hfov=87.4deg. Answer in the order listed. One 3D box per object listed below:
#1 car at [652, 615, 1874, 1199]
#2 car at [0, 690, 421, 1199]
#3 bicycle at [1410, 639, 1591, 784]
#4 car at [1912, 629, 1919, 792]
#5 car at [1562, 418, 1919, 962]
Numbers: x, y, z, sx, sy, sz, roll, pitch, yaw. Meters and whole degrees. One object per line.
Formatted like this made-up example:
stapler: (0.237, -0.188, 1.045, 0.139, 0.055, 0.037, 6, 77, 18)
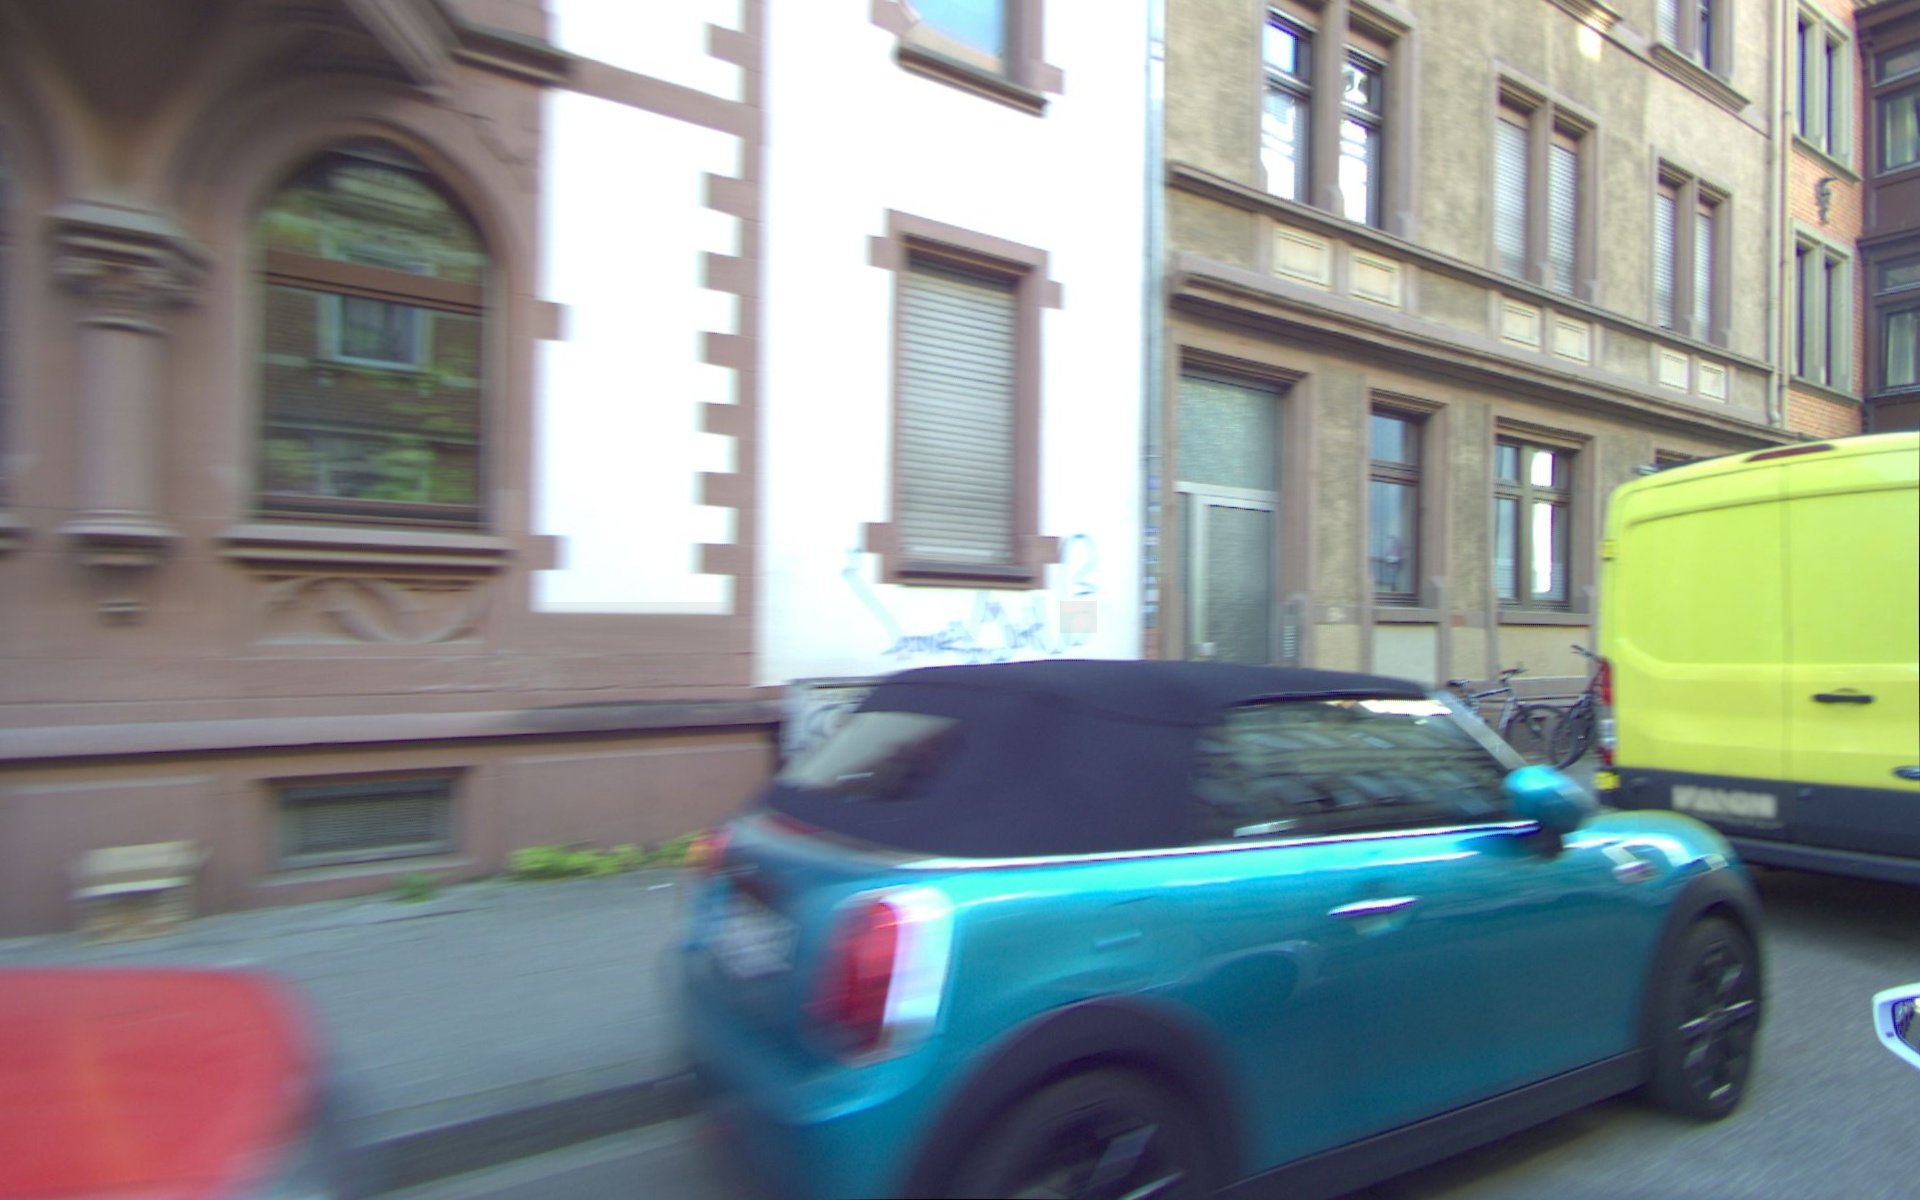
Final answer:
car: (1.096, 0.862, 3.395, 3.849, 1.430, 1.712, 1, -6, -29)
car: (-2.679, 0.828, 1.102, 3.573, 1.344, 1.609, 2, -4, -32)
bicycle: (5.078, 0.996, 9.407, 1.744, 1.227, 0.670, 1, 0, -30)
car: (11.381, 1.093, 9.910, 3.956, 1.572, 1.983, 2, -2, -32)
car: (6.689, 0.511, 6.687, 5.813, 2.540, 2.164, 2, -3, -32)
